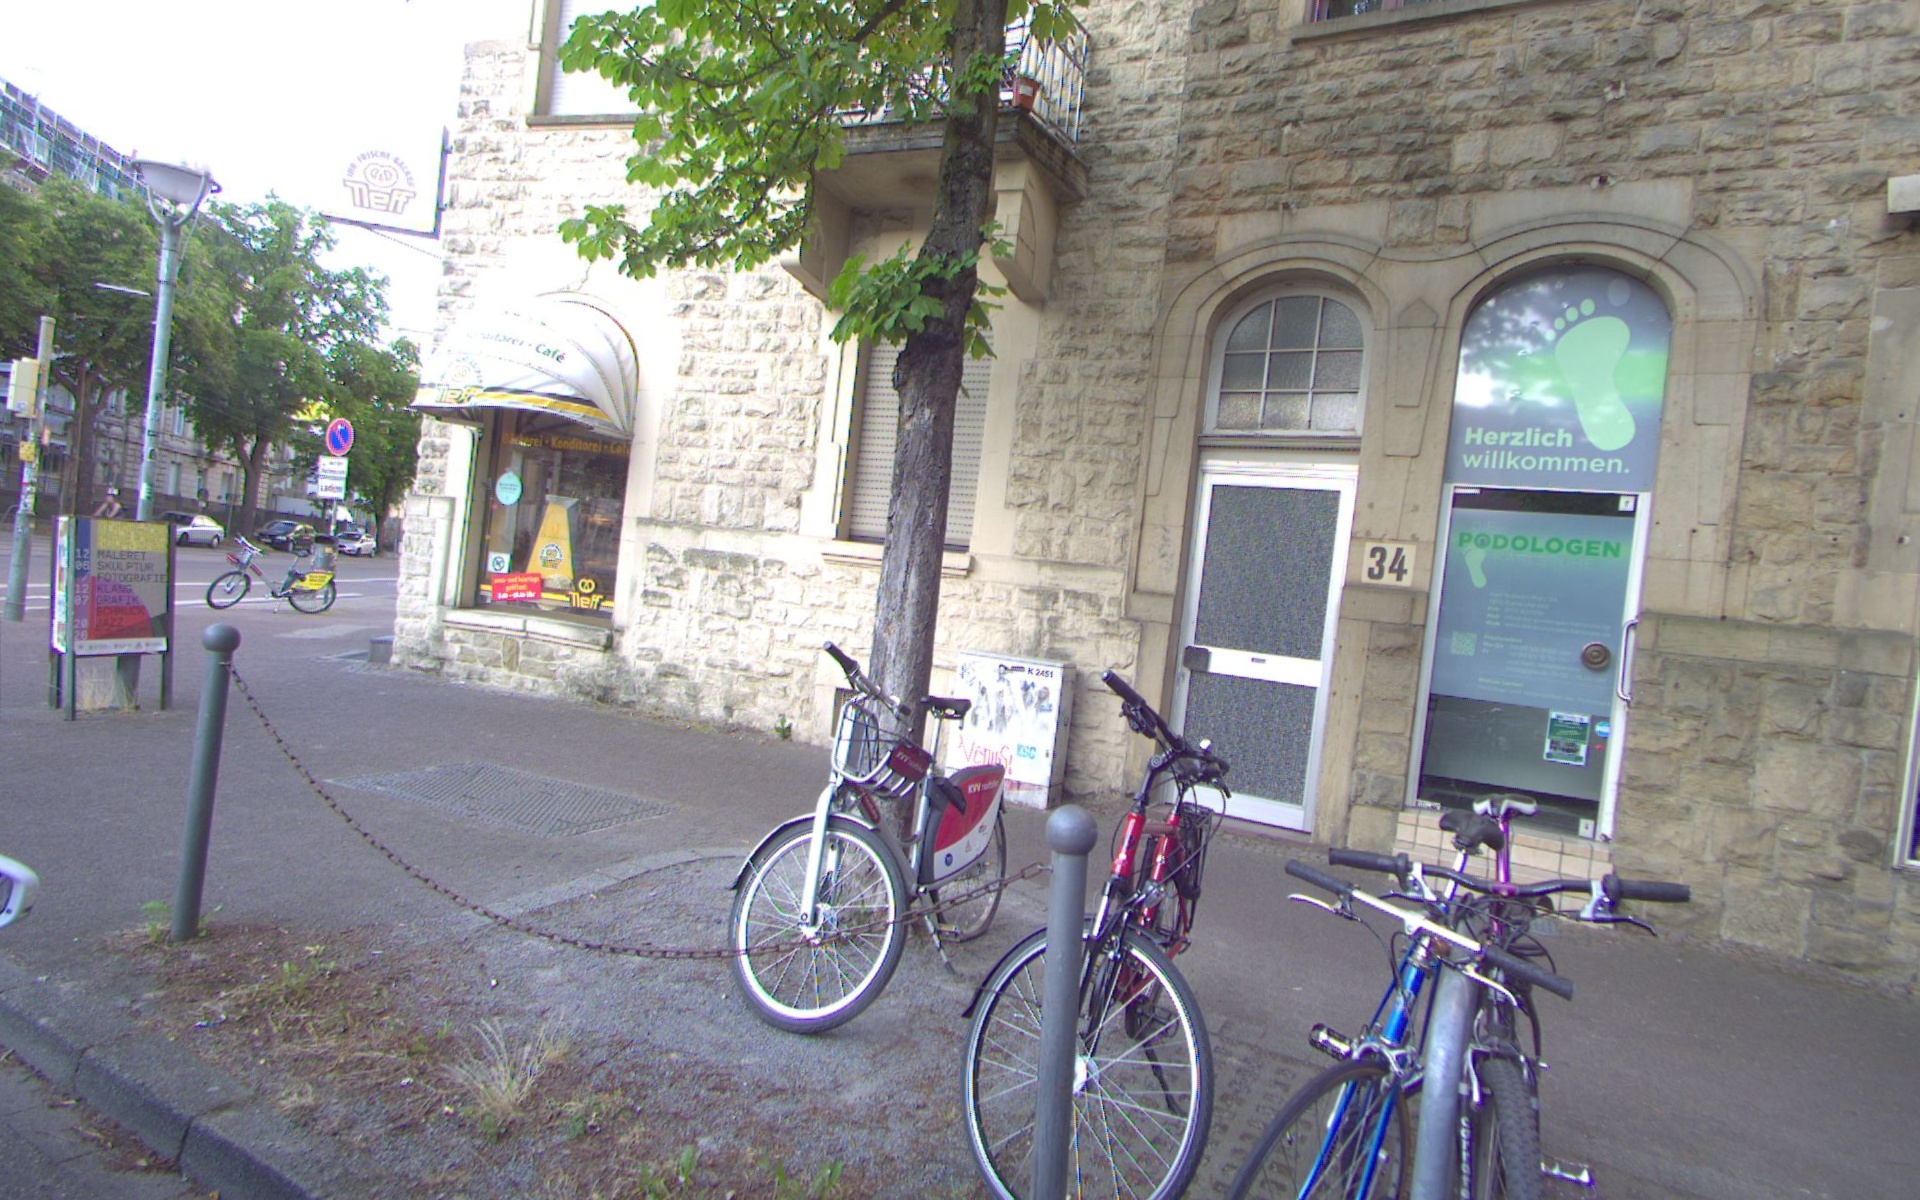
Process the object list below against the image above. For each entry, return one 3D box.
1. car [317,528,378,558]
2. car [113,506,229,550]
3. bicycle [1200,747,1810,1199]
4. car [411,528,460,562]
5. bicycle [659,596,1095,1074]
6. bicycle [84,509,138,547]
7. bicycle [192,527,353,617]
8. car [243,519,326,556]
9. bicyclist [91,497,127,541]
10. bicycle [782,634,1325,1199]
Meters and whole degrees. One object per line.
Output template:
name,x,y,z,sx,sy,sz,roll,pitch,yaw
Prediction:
car,-38.092,-3.509,62.700,1.920,1.500,4.307,7,0,-14
car,-34.135,-3.077,43.697,1.977,1.444,4.621,7,0,-12
bicycle,1.101,0.963,2.205,0.687,1.051,1.804,7,0,28
car,-41.902,-4.353,80.502,1.918,2.345,4.623,7,0,-10
bicycle,-0.166,0.695,3.694,0.639,1.252,1.791,7,0,26
bicycle,-30.374,-2.561,36.011,0.545,1.162,1.606,6,0,-5
bicycle,-10.539,-0.416,15.471,0.721,1.144,1.868,7,0,42
car,-36.040,-3.287,53.784,1.917,1.501,4.162,7,0,-8
bicyclist,-30.333,-2.884,35.880,0.545,1.446,0.735,6,1,-5
bicycle,0.411,0.782,2.682,0.687,1.252,1.790,7,0,28
